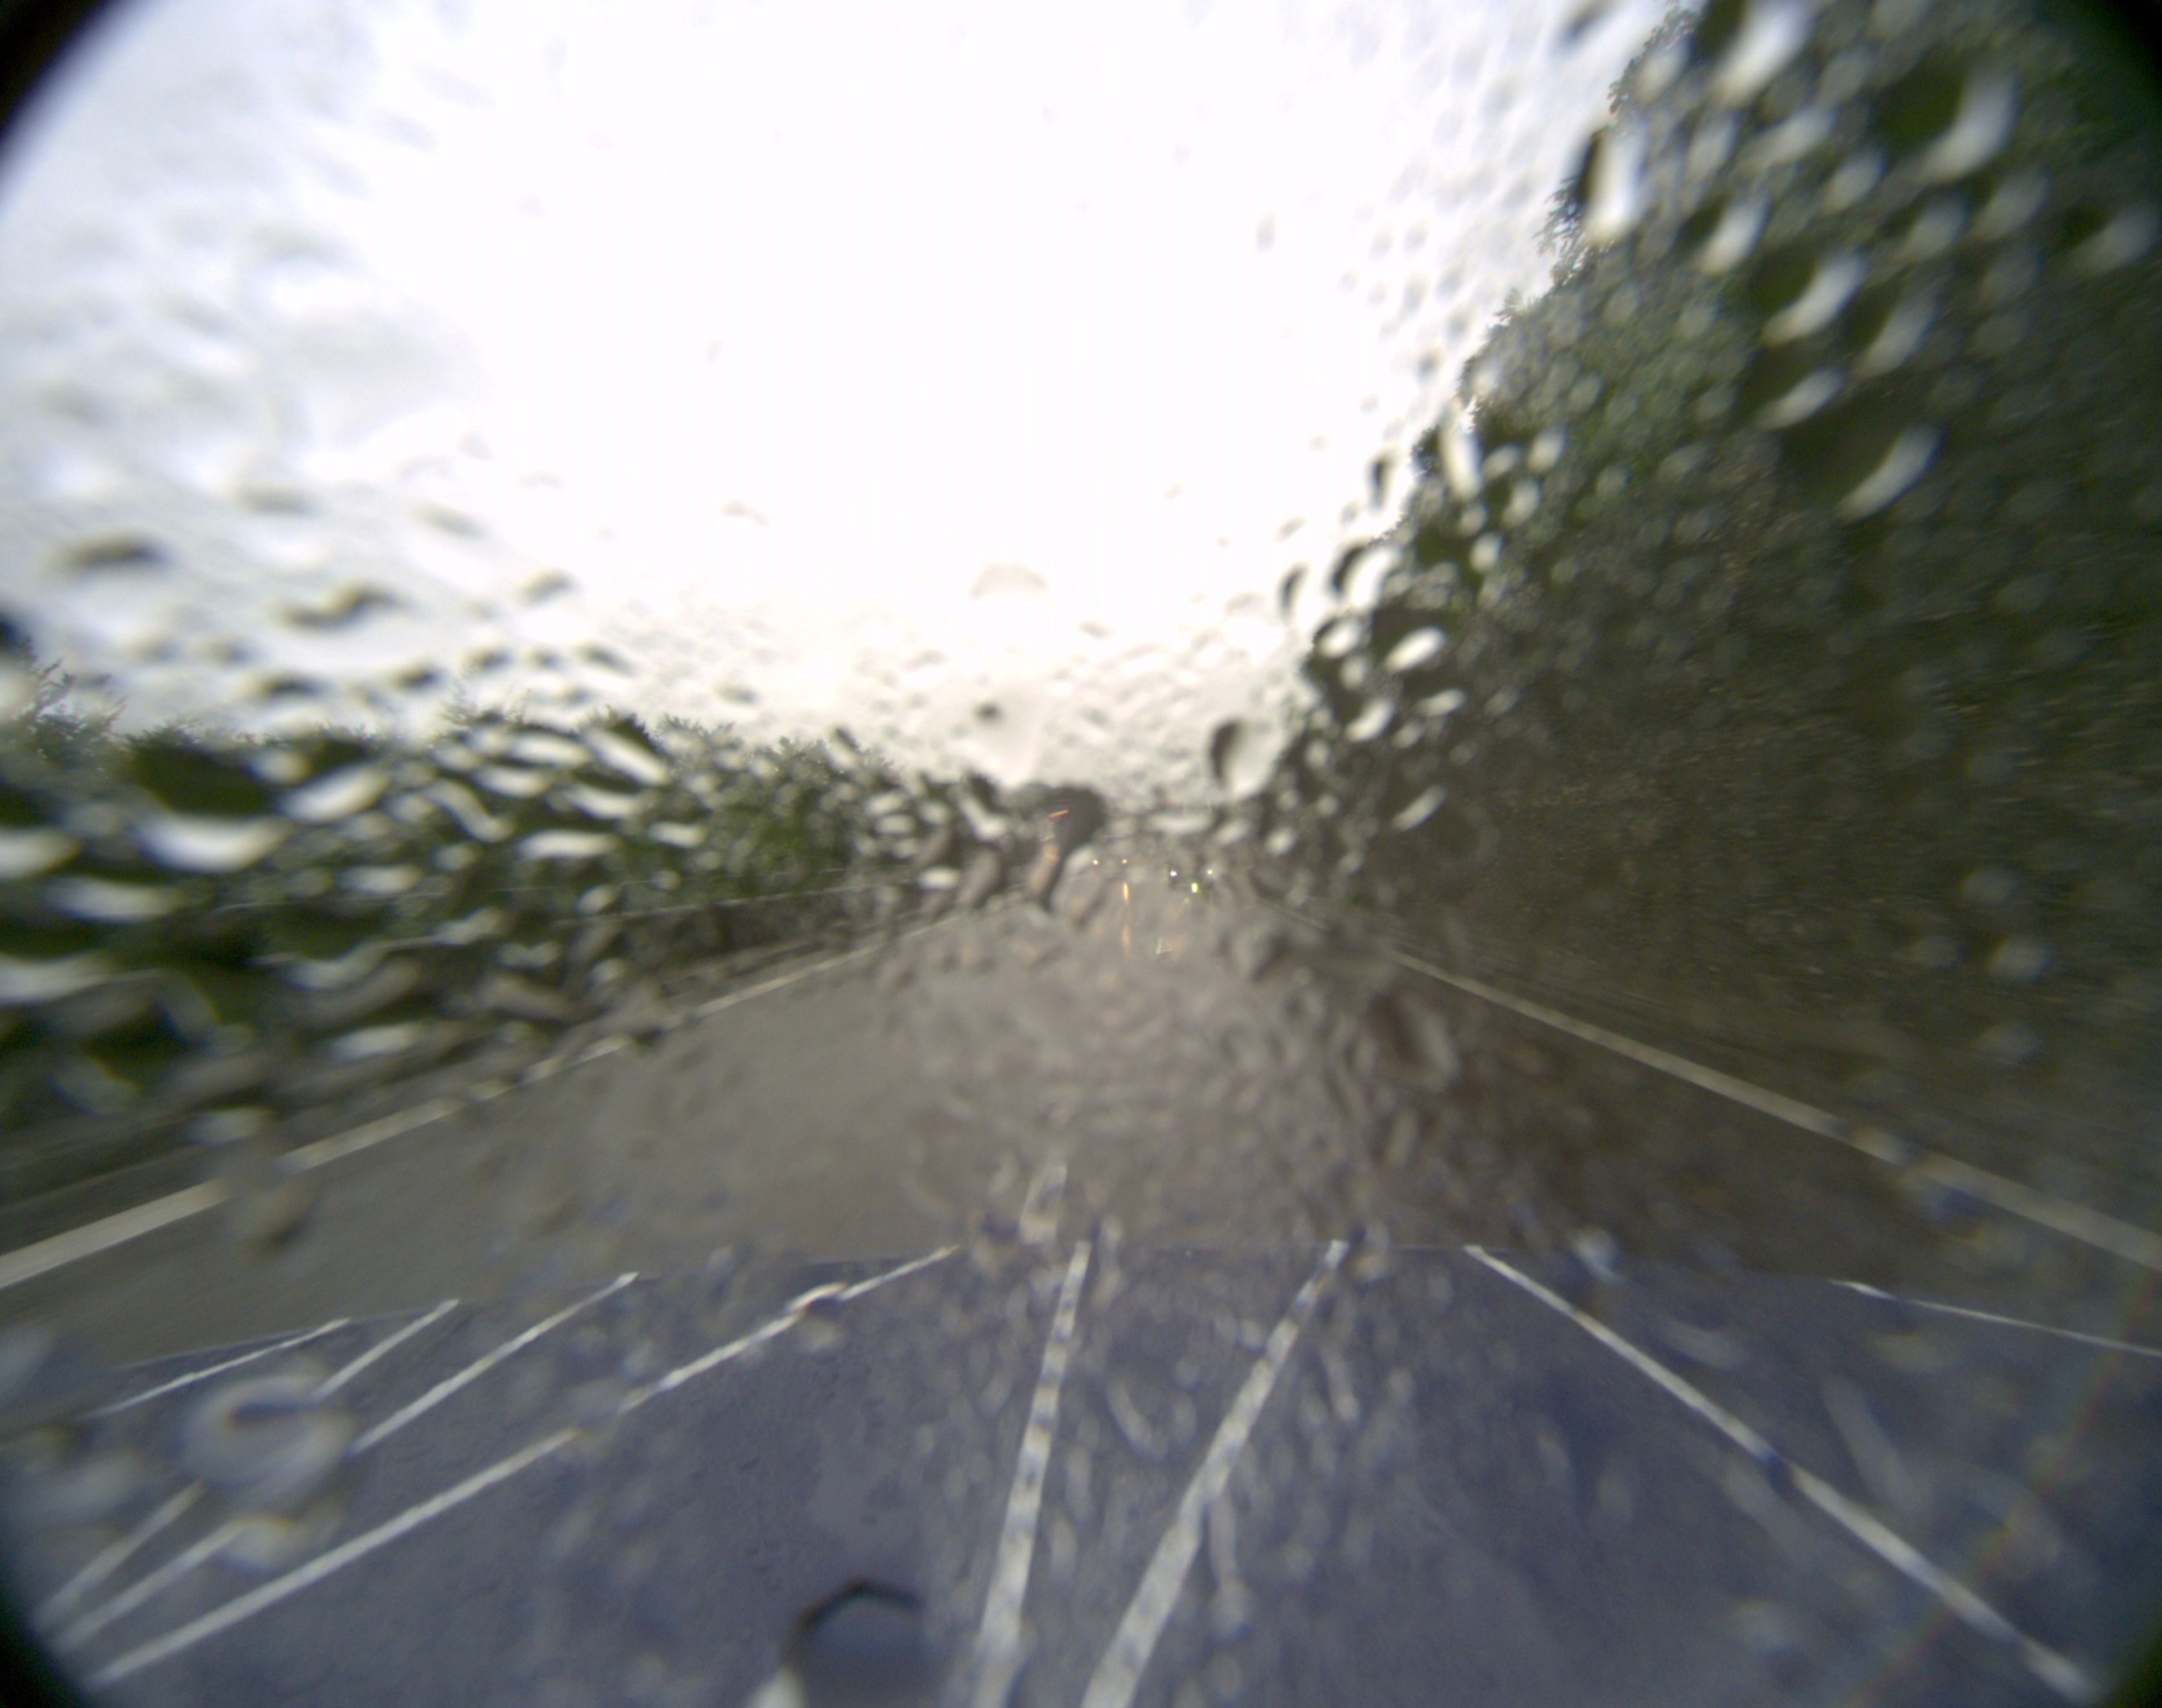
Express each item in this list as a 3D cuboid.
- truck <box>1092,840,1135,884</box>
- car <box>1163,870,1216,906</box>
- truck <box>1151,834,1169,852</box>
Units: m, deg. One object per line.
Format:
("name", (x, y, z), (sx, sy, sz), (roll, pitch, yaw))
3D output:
("truck", (2.133, 0.422, 47.346), (2.107, 2.481, 8.006), (-1, 0, 6))
("car", (4.494, 1.393, 31.955), (1.827, 1.375, 4.001), (0, -1, 2))
("truck", (18.475, -2.569, 176.998), (2.807, 4.280, 6.473), (-1, 1, 18))
